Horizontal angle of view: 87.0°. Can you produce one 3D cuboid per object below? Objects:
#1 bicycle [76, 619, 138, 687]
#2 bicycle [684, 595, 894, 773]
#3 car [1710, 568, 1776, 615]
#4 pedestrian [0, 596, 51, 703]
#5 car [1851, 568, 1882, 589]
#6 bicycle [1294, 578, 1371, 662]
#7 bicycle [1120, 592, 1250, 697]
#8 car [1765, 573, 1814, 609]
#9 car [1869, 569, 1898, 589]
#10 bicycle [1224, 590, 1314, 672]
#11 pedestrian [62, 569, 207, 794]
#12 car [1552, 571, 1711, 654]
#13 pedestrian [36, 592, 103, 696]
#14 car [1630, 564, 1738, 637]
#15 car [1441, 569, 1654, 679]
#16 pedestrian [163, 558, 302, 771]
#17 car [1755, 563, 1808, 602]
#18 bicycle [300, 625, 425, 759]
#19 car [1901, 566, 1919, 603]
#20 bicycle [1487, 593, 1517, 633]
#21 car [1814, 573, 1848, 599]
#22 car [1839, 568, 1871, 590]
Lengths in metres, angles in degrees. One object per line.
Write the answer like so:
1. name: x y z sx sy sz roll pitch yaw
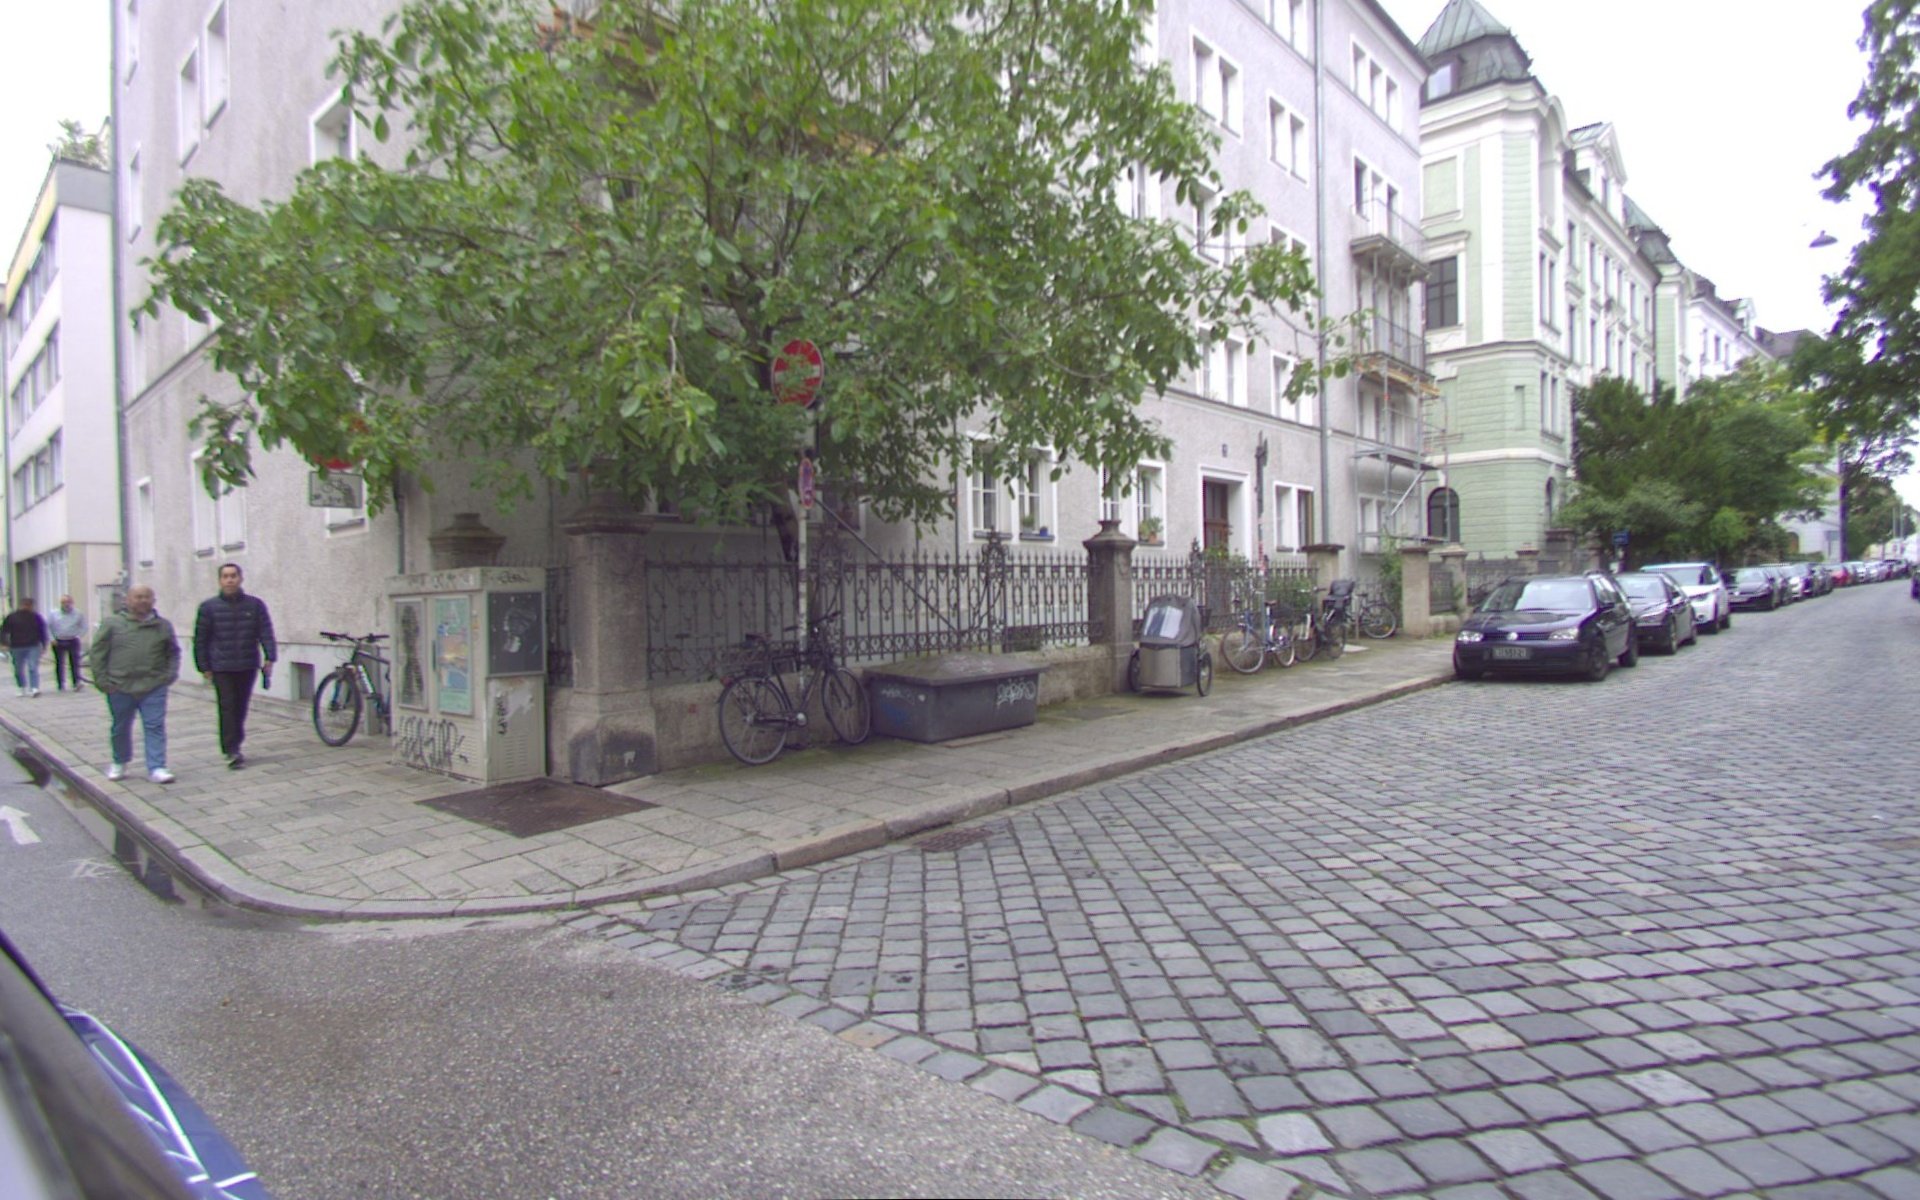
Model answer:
1. bicycle: -16.009 0.978 18.989 1.495 1.203 0.445 -1 1 33
2. bicycle: -1.321 0.607 8.152 0.432 1.270 1.788 -1 0 41
3. car: 25.649 -0.300 33.126 1.521 1.439 3.354 -1 1 41
4. pedestrian: -16.277 0.833 17.438 0.841 1.740 0.712 -1 4 43
5. car: 64.636 -1.521 72.212 1.497 1.442 3.550 -1 1 40
6. bicycle: 5.975 0.299 16.179 1.827 1.283 0.412 -1 0 -45
7. bicycle: 2.849 0.499 12.548 0.987 1.165 2.465 -1 0 27
8. car: 36.382 -0.425 44.419 1.591 1.475 3.483 -1 1 39
9. car: 71.983 -1.643 78.935 1.497 1.442 3.550 -1 1 40
10. bicycle: 4.487 0.420 14.640 1.827 1.112 0.412 -1 0 -45
11. pedestrian: -6.708 0.622 8.222 0.859 1.690 0.683 -1 2 40
12. car: 12.392 0.173 18.571 1.845 1.336 4.055 -1 1 42
13. pedestrian: -15.842 0.768 18.007 0.841 1.740 0.686 -1 4 43
14. car: 16.623 -0.020 23.168 1.588 1.533 3.608 -1 1 42
15. car: 8.567 0.264 14.596 1.845 1.336 4.055 -1 1 42
16. pedestrian: -6.428 0.540 8.952 0.739 1.776 0.684 -2 2 32
17. car: 32.640 -0.705 40.184 1.521 1.439 3.354 -1 1 41
18. bicycle: -5.529 0.801 9.322 1.702 1.103 0.426 -1 2 41
19. car: 34.596 -0.591 35.971 1.521 1.256 3.354 -1 1 41
20. bicycle: 12.762 0.302 23.807 0.405 0.880 1.703 -1 1 36
21. car: 52.884 -0.853 61.493 1.497 1.442 3.550 -1 1 40
22. car: 60.661 -1.449 68.614 1.497 1.442 3.550 -1 1 40
